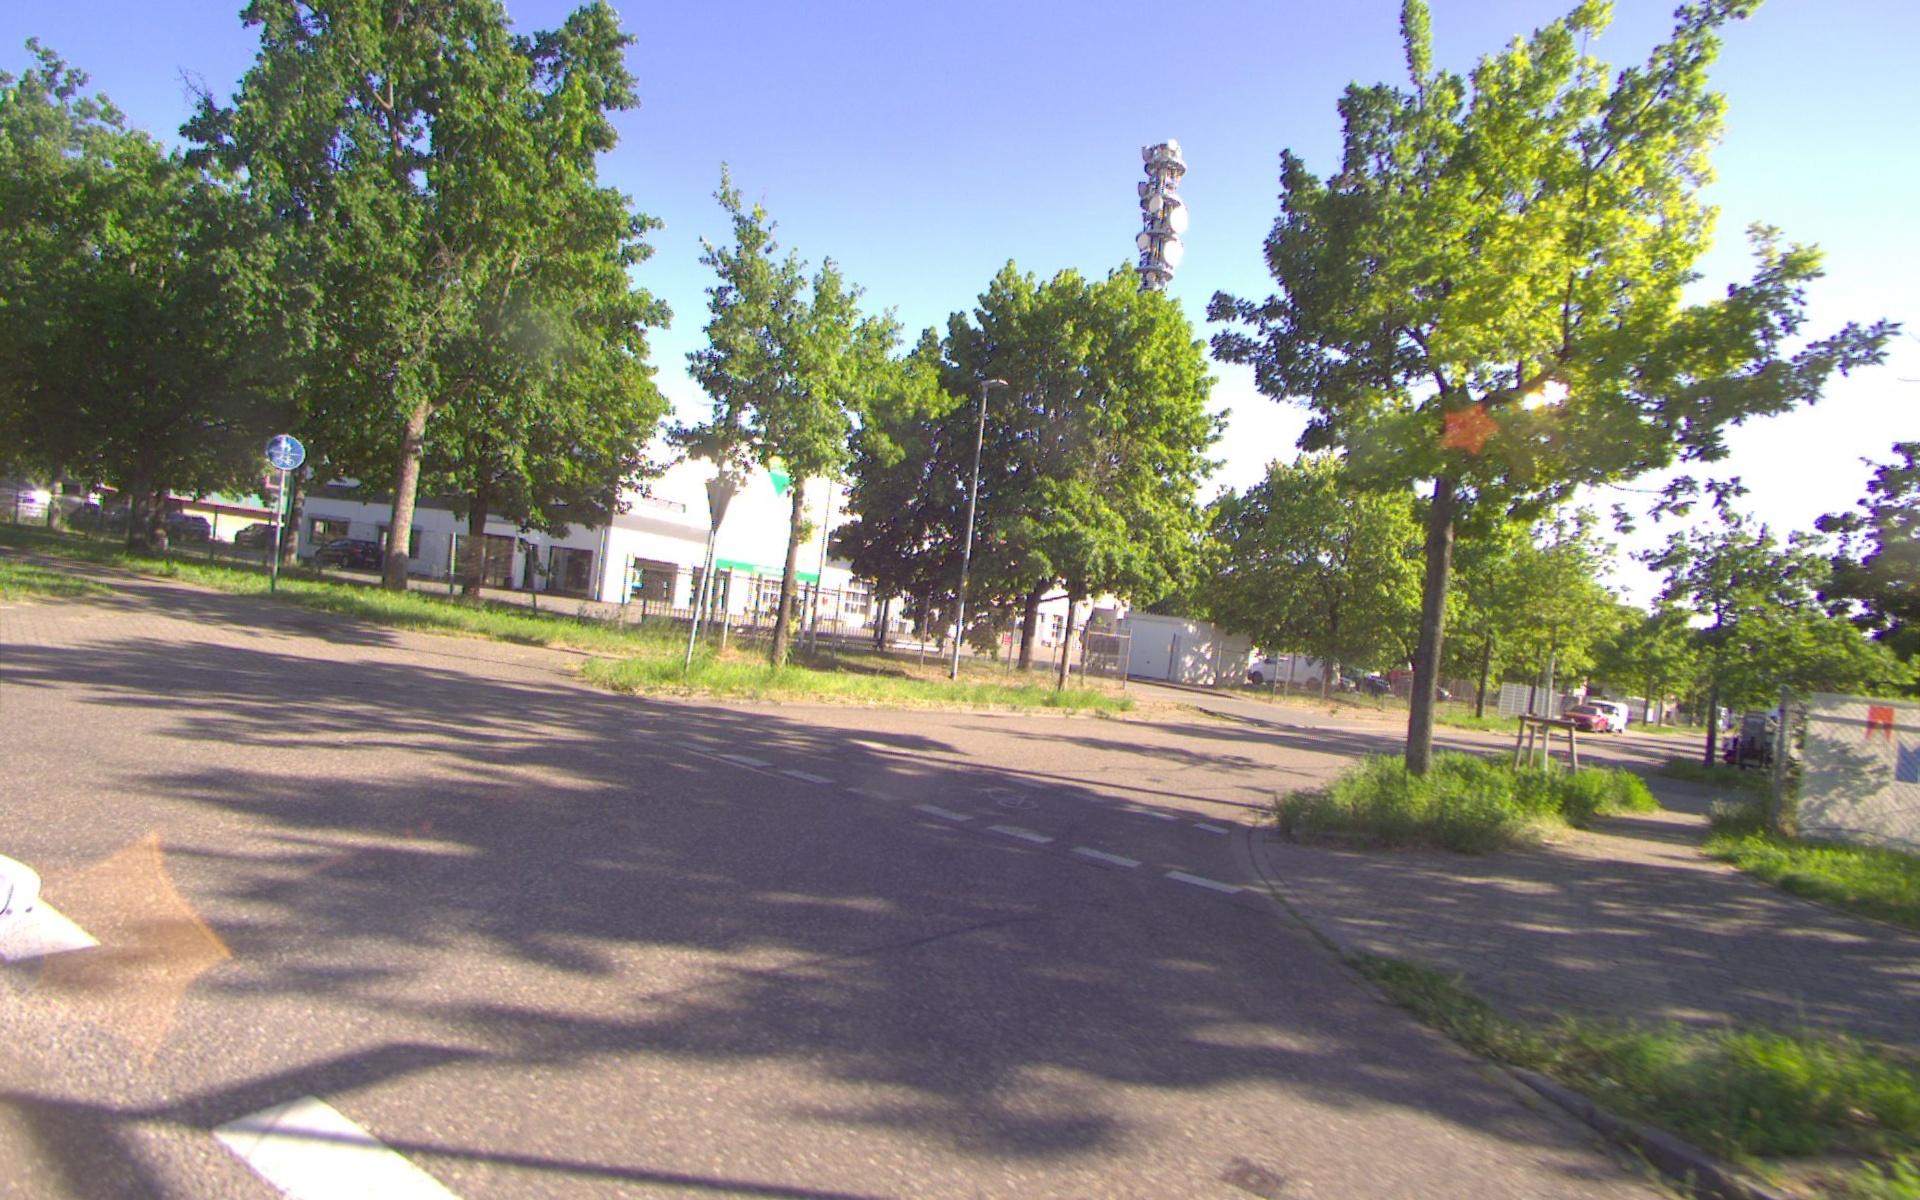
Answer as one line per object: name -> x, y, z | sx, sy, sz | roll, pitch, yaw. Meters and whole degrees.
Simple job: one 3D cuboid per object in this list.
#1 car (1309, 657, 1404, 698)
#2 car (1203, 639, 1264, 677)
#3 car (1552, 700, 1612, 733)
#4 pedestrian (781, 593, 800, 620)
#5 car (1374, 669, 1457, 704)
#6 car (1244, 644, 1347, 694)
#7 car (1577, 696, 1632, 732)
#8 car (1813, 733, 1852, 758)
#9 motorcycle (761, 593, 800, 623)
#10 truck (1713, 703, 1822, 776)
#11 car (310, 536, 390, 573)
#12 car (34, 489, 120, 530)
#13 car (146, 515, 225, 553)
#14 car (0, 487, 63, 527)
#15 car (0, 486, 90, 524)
car -> 23.324, 4.566, 59.341 | 1.987, 1.699, 4.679 | 8, -1, -42
car -> 24.180, 5.145, 89.148 | 2.144, 2.731, 4.813 | 7, -1, -30
car -> 35.590, 6.678, 57.501 | 1.915, 1.497, 4.493 | 7, -1, 43
pedestrian -> -9.566, 0.376, 56.748 | 0.706, 1.450, 0.750 | 7, 0, 8
car -> 31.185, 5.933, 68.969 | 1.987, 1.699, 4.679 | 8, -1, -42
car -> 17.958, 3.696, 54.021 | 4.674, 2.010, 1.989 | 6, -1, 44
car -> 39.439, 6.999, 61.490 | 1.972, 1.859, 5.434 | 7, -1, 41
car -> 65.053, 10.839, 74.989 | 1.915, 1.497, 4.493 | 7, -1, 43
motorcycle -> -10.118, 0.461, 56.756 | 0.649, 1.450, 1.980 | 7, -1, 45
truck -> 27.730, 4.798, 34.488 | 5.118, 2.136, 1.978 | 8, -3, -41
car -> -31.608, -2.345, 52.090 | 3.702, 1.400, 1.769 | 7, -1, 27
car -> -51.819, -5.328, 59.058 | 4.560, 1.765, 2.189 | 7, -1, 28
car -> -49.472, -4.208, 64.225 | 4.560, 1.765, 2.189 | 7, -1, 28
car -> -53.157, -5.340, 56.780 | 4.560, 1.765, 2.189 | 7, -1, 28
car -> -62.135, -6.423, 67.855 | 2.151, 1.765, 4.641 | 7, -1, 23
